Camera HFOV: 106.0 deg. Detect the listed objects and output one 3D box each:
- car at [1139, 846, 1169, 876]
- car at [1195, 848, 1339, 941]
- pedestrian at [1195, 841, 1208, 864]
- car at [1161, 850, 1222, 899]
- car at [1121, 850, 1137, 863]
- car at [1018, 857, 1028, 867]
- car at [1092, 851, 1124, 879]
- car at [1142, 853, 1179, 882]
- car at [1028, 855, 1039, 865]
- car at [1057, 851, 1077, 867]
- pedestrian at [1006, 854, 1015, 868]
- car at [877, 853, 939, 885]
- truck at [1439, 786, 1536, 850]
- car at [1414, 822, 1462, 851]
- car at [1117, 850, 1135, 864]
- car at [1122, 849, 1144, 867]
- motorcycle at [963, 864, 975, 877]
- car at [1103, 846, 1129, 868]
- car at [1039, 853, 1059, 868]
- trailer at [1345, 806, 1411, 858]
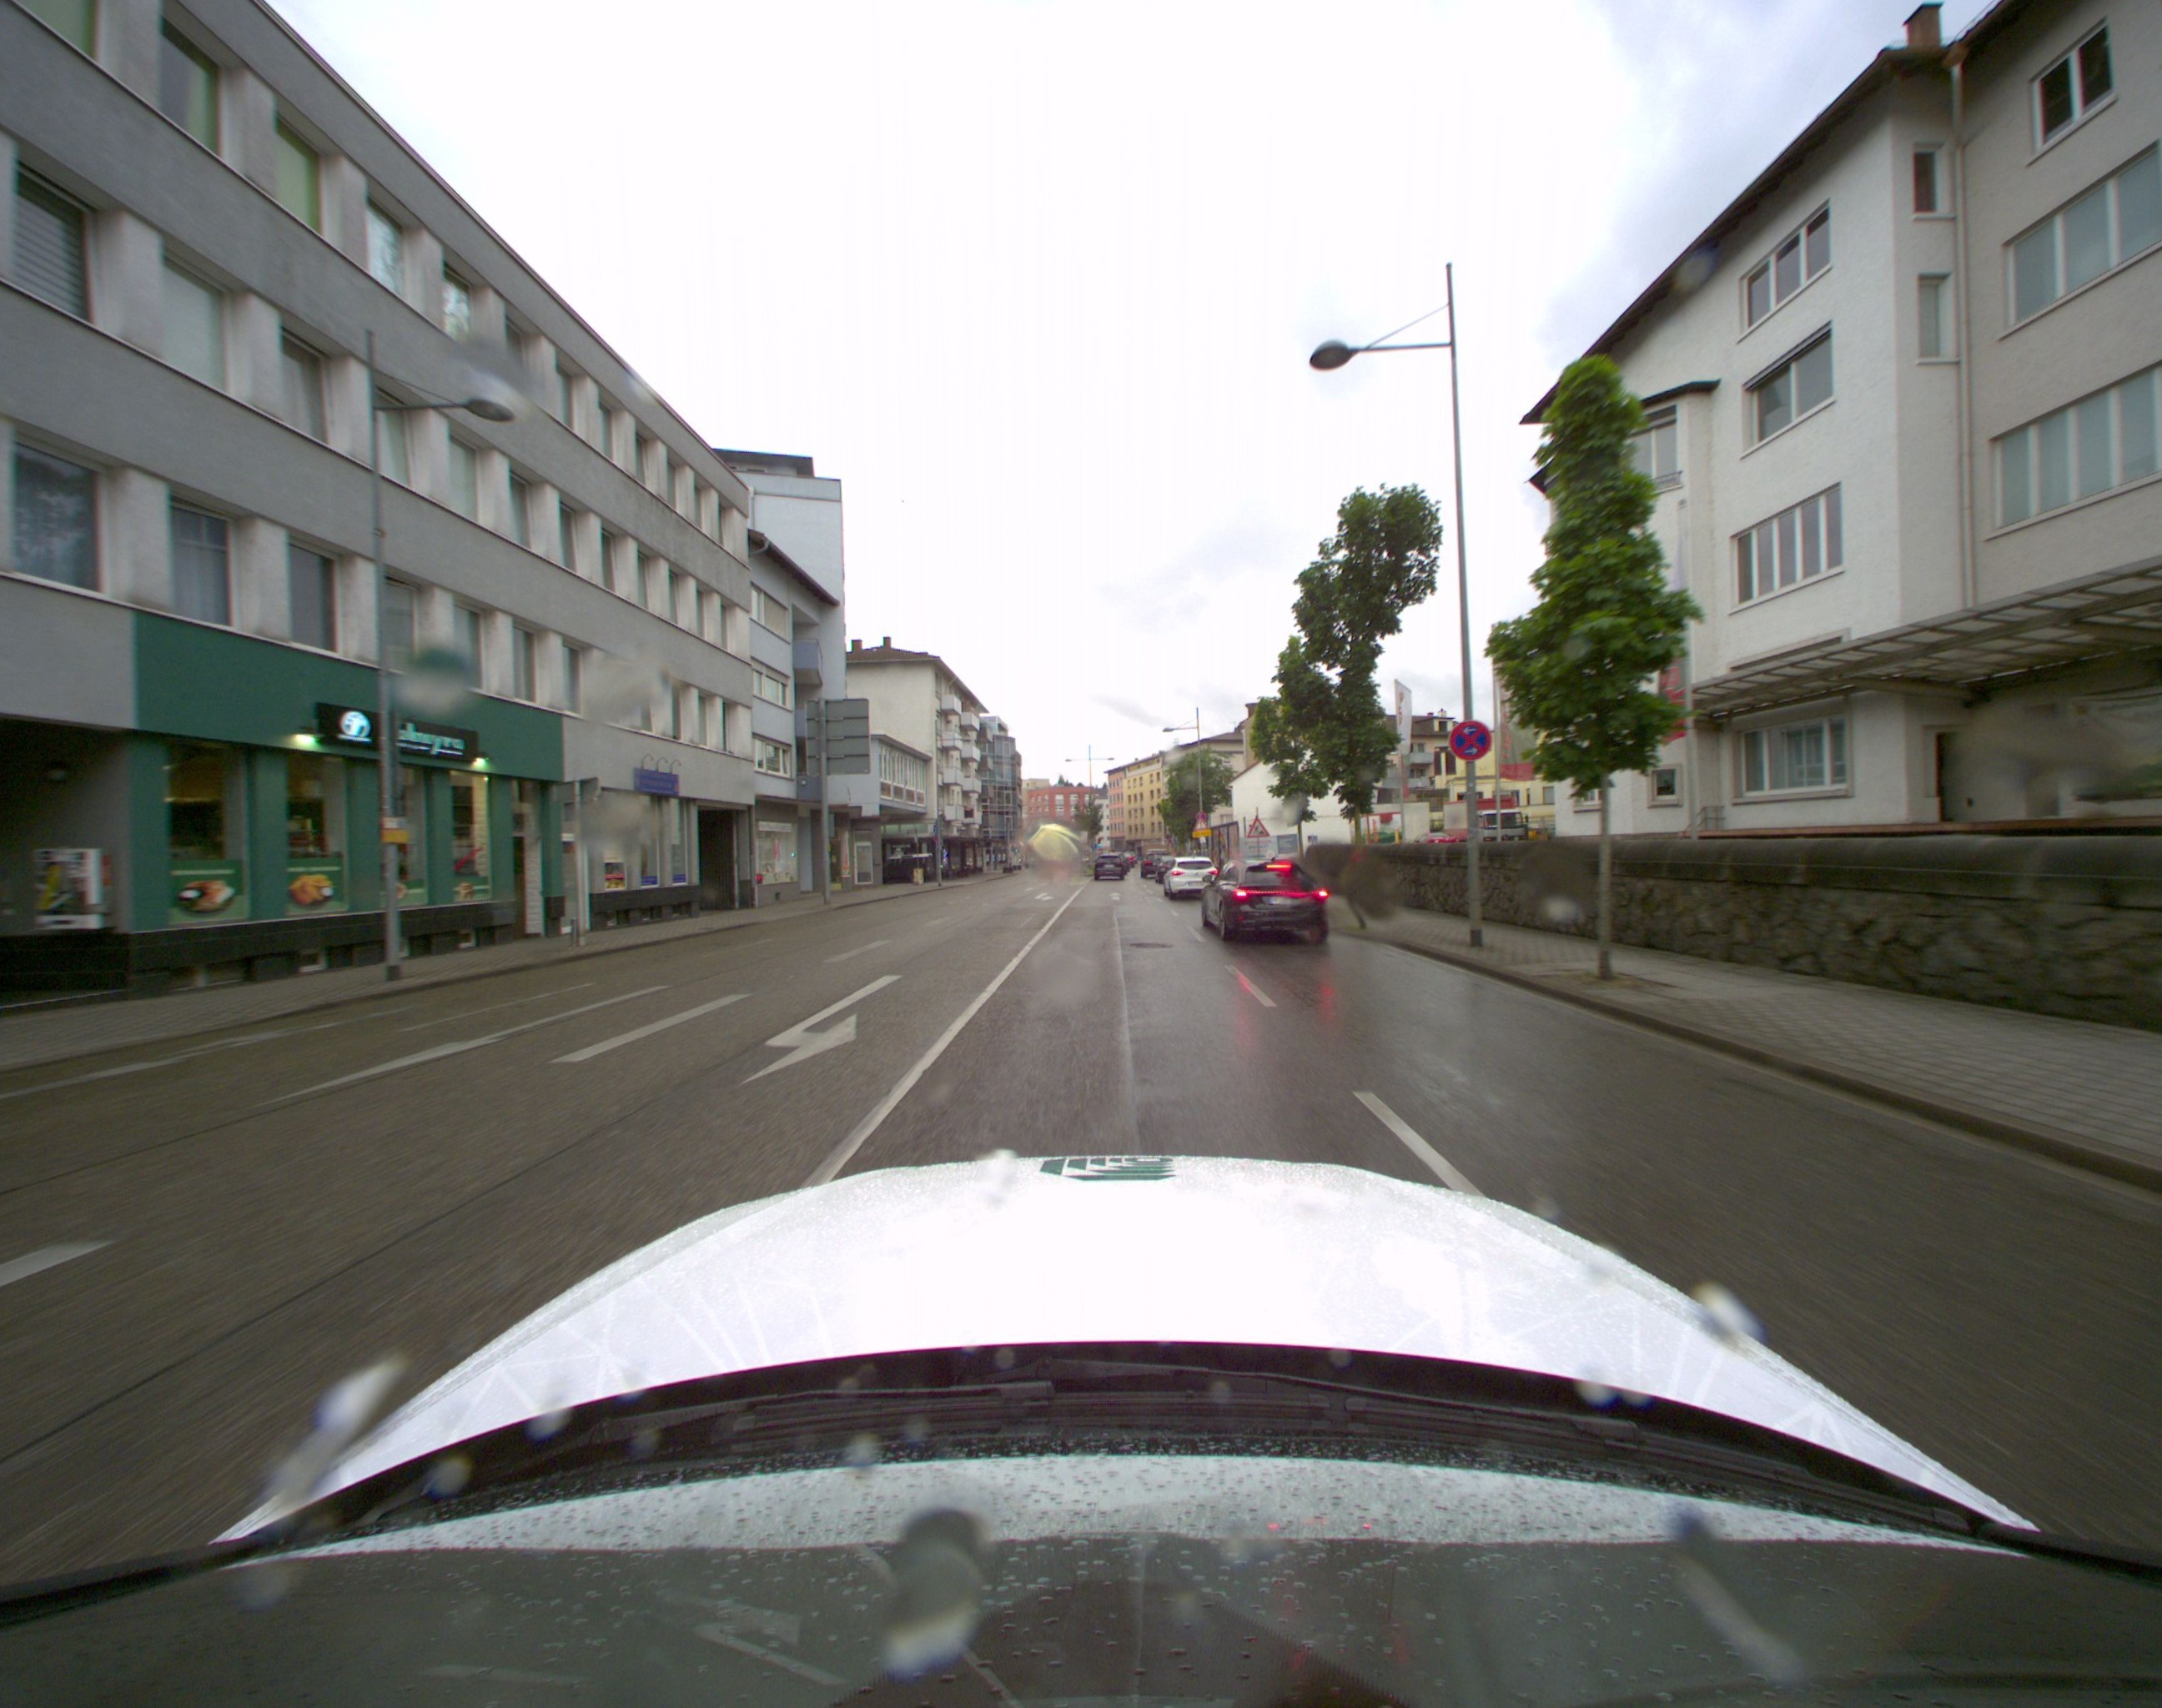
[{"bbox_3d":[4.732,0.420,52.971,1.822,1.805,3.723,-1,1,4],"label":"car"},{"bbox_3d":[3.371,0.652,15.661,1.783,1.403,4.635,-4,0,2],"label":"car"},{"bbox_3d":[9.764,-0.109,65.908,0.785,1.755,0.875,-4,0,15],"label":"pedestrian"},{"bbox_3d":[3.811,0.648,28.587,1.658,1.396,3.869,-5,1,2],"label":"car"},{"bbox_3d":[5.659,0.259,96.303,1.635,1.381,3.349,-4,0,1],"label":"car"},{"bbox_3d":[-9.635,1.311,135.051,1.455,1.430,3.360,-1,1,-9],"label":"car"},{"bbox_3d":[1.709,0.640,50.113,1.815,1.600,3.722,-1,0,3],"label":"car"},{"bbox_3d":[4.235,0.702,43.169,1.777,1.400,3.725,-2,0,6],"label":"car"},{"bbox_3d":[-7.189,0.904,123.267,1.548,1.570,3.340,-1,0,-7],"label":"car"},{"bbox_3d":[-1.466,0.507,86.327,1.713,1.423,4.168,-5,0,3],"label":"car"},{"bbox_3d":[-8.718,0.869,100.800,0.786,1.591,0.755,-4,0,-34],"label":"pedestrian"},{"bbox_3d":[-12.231,1.032,57.790,3.948,2.034,1.581,-3,0,2],"label":"car"},{"bbox_3d":[23.278,-1.969,47.085,2.618,3.215,6.943,-5,0,7],"label":"truck"},{"bbox_3d":[20.535,-0.987,46.938,1.581,1.456,3.271,-4,0,6],"label":"car"},{"bbox_3d":[4.658,0.304,83.882,1.635,1.381,3.349,-4,0,1],"label":"car"},{"bbox_3d":[4.439,0.317,69.617,1.635,1.381,3.349,-4,0,1],"label":"car"},{"bbox_3d":[-9.327,1.352,67.695,0.523,0.995,2.139,-1,0,4],"label":"motorcycle"},{"bbox_3d":[2.612,0.206,60.615,1.815,1.600,3.722,-1,0,3],"label":"car"},{"bbox_3d":[-3.604,0.695,92.339,1.701,1.467,4.833,-6,0,3],"label":"car"},{"bbox_3d":[17.386,-1.276,48.011,2.117,2.716,5.398,-5,1,5],"label":"trailer"}]
